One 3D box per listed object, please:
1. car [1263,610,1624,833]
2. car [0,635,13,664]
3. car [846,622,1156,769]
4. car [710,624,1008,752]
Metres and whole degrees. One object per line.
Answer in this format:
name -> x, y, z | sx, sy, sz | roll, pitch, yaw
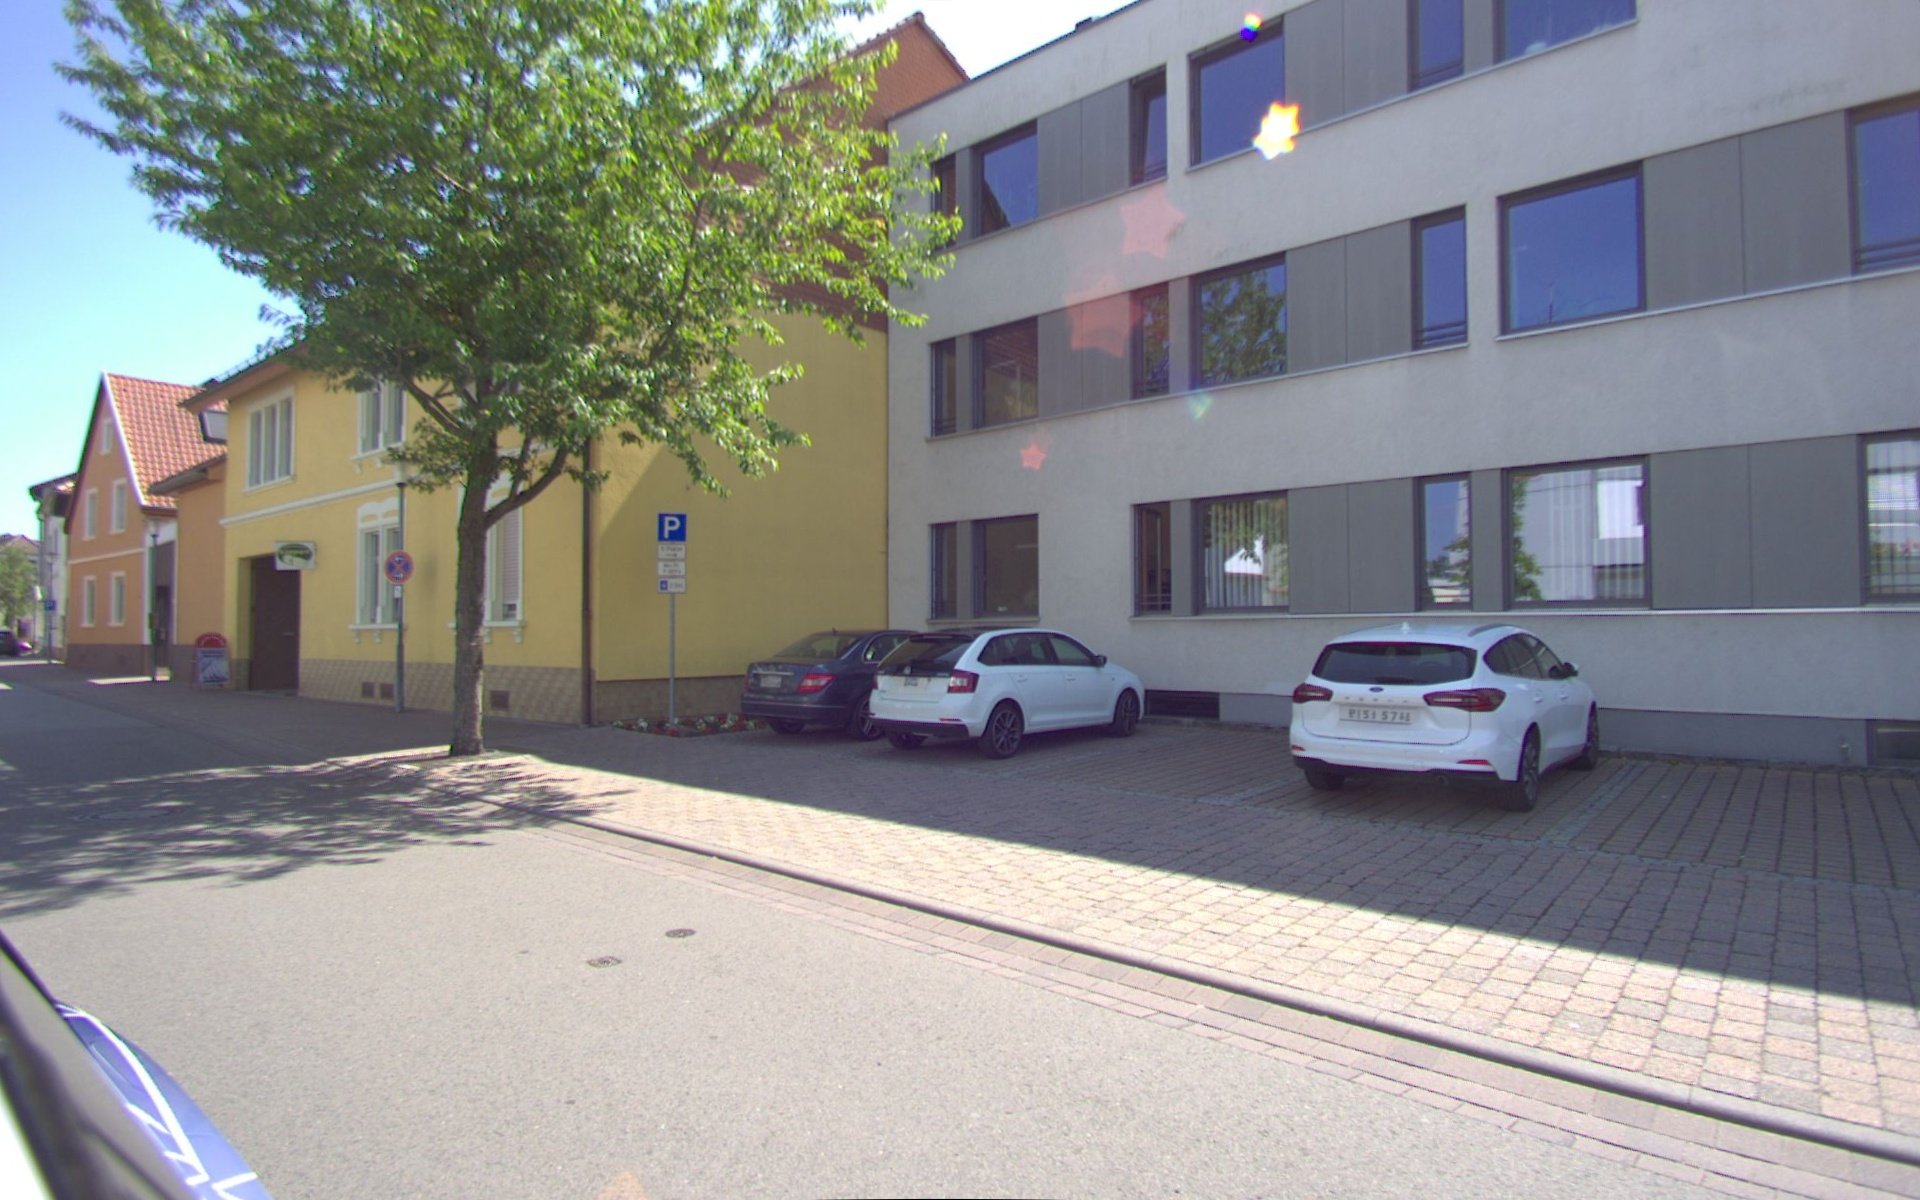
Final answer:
car -> 4.695, 0.895, 9.448 | 1.934, 1.566, 4.457 | -1, -1, 41
car -> -55.923, 2.859, 58.365 | 1.836, 1.642, 4.051 | 2, -3, -42
car -> 0.650, 1.046, 12.519 | 1.806, 1.462, 3.947 | -3, -2, 39
car -> -1.271, 1.111, 14.114 | 1.969, 1.442, 3.950 | -3, -2, 37
